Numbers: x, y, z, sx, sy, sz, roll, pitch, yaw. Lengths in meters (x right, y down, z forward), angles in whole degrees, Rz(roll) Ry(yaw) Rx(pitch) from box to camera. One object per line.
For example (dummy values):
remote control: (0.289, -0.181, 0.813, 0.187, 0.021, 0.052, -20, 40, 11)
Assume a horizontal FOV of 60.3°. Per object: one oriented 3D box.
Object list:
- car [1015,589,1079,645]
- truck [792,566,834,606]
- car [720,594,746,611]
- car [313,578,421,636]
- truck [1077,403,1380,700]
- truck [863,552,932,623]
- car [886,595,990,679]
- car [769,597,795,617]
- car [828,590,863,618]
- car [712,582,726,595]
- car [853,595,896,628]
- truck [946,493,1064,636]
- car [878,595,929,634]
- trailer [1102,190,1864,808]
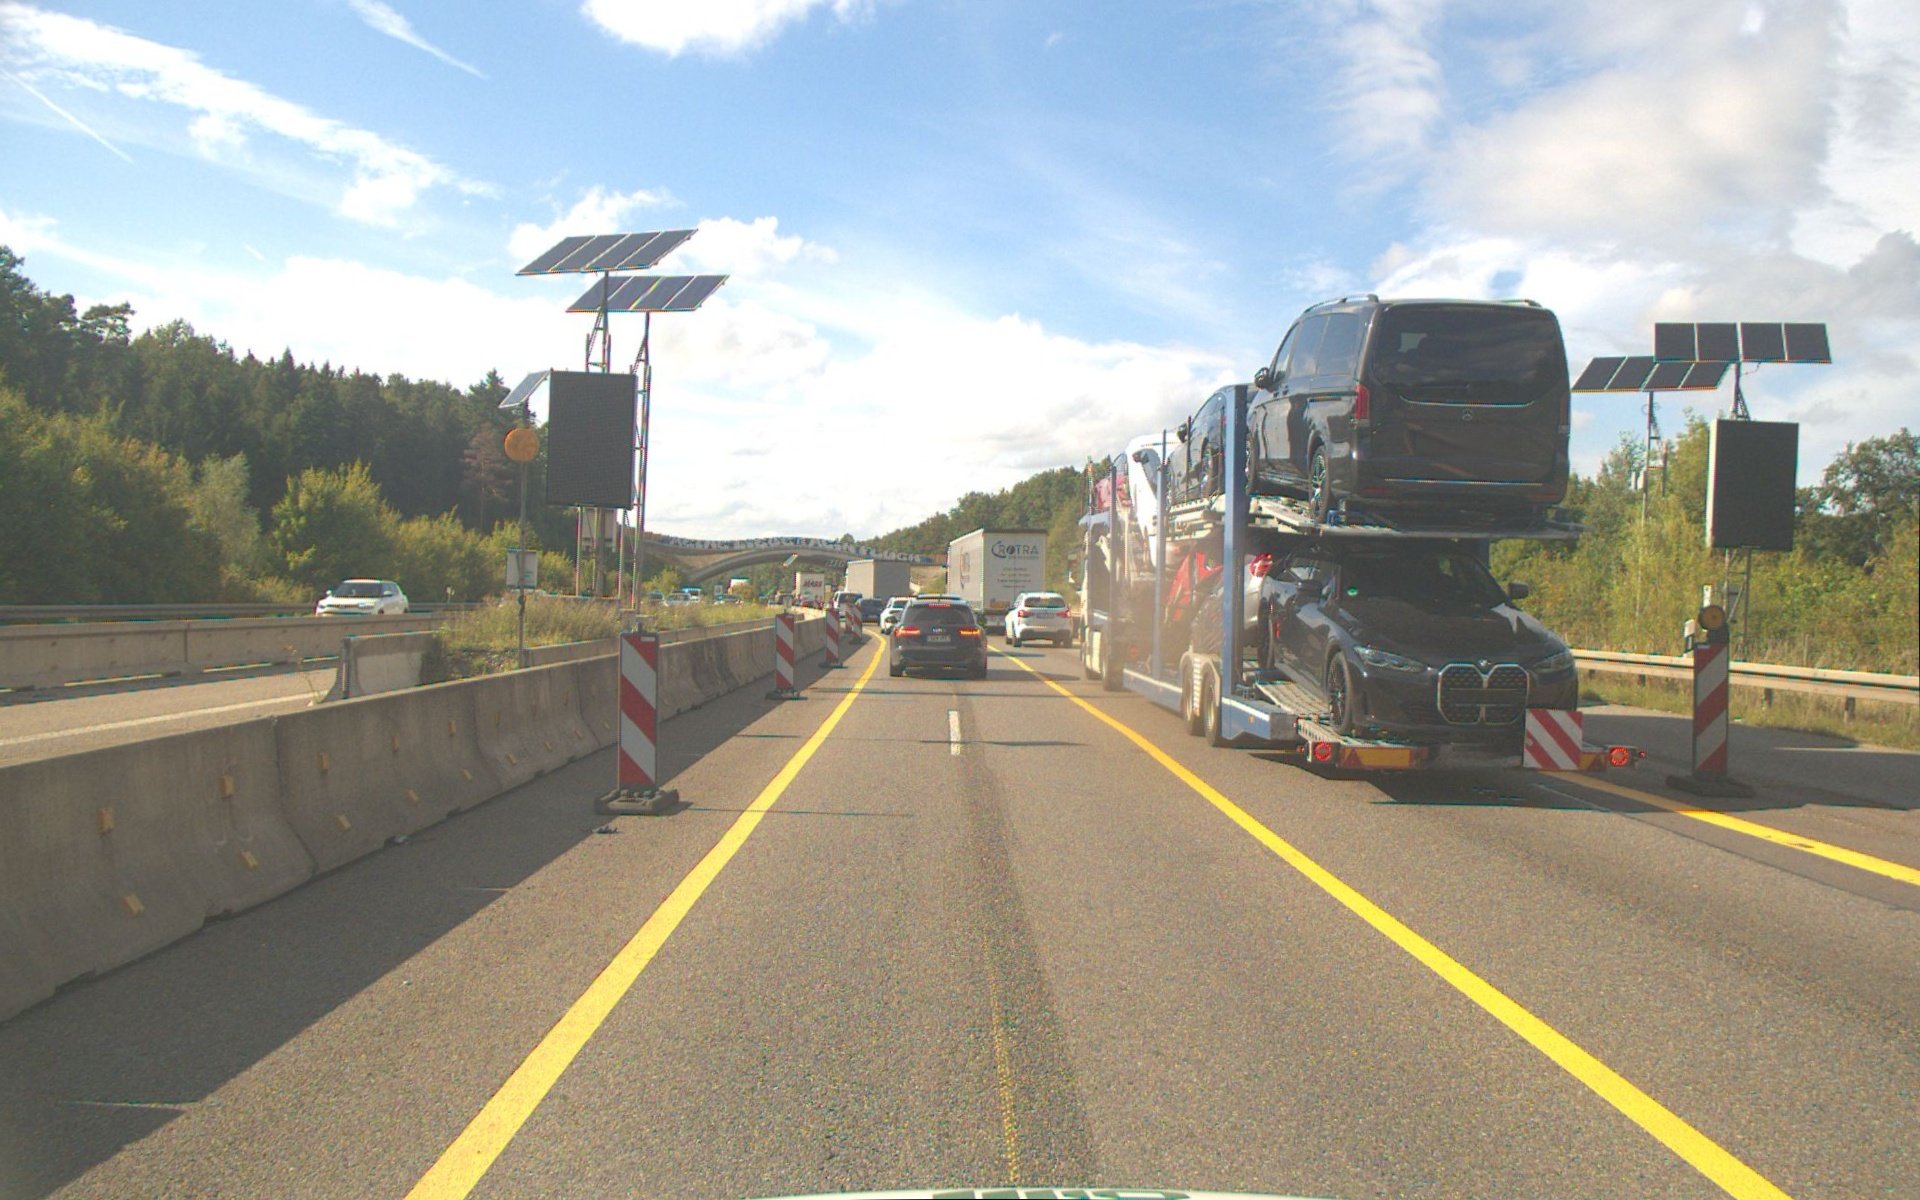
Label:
car: (2.699, 0.508, 52.165, 1.851, 1.672, 4.018, 1, 0, 1)
truck: (-15.356, -1.438, 172.213, 3.587, 3.997, 11.043, 1, 0, -9)
car: (-21.991, 0.232, 160.281, 1.928, 1.630, 4.945, 1, 0, -2)
car: (-17.850, 0.204, 49.941, 1.741, 1.630, 4.018, 1, 0, 1)
truck: (4.214, -0.710, 28.198, 3.685, 4.269, 7.949, 1, 0, -1)
truck: (-4.514, -0.825, 116.429, 4.235, 4.681, 11.112, 1, 0, -5)
car: (-0.371, 0.660, 31.750, 1.851, 1.472, 4.000, 1, 0, 1)
car: (-15.176, 0.606, 141.001, 1.747, 1.630, 4.004, 1, 0, -13)
car: (-7.032, 0.224, 101.086, 1.855, 1.672, 4.010, 1, 0, -8)
car: (-36.072, -1.682, 247.619, 1.745, 1.899, 3.997, 1, 0, -4)
car: (-4.566, 0.582, 88.206, 1.855, 1.672, 4.009, 1, 0, -9)
truck: (1.684, -1.376, 71.654, 3.605, 5.447, 16.189, 1, 0, -4)
car: (-2.293, 0.575, 66.349, 1.853, 1.472, 3.996, 1, 0, -5)
trailer: (4.383, -0.706, 19.731, 3.650, 4.269, 16.223, 1, 0, -1)
